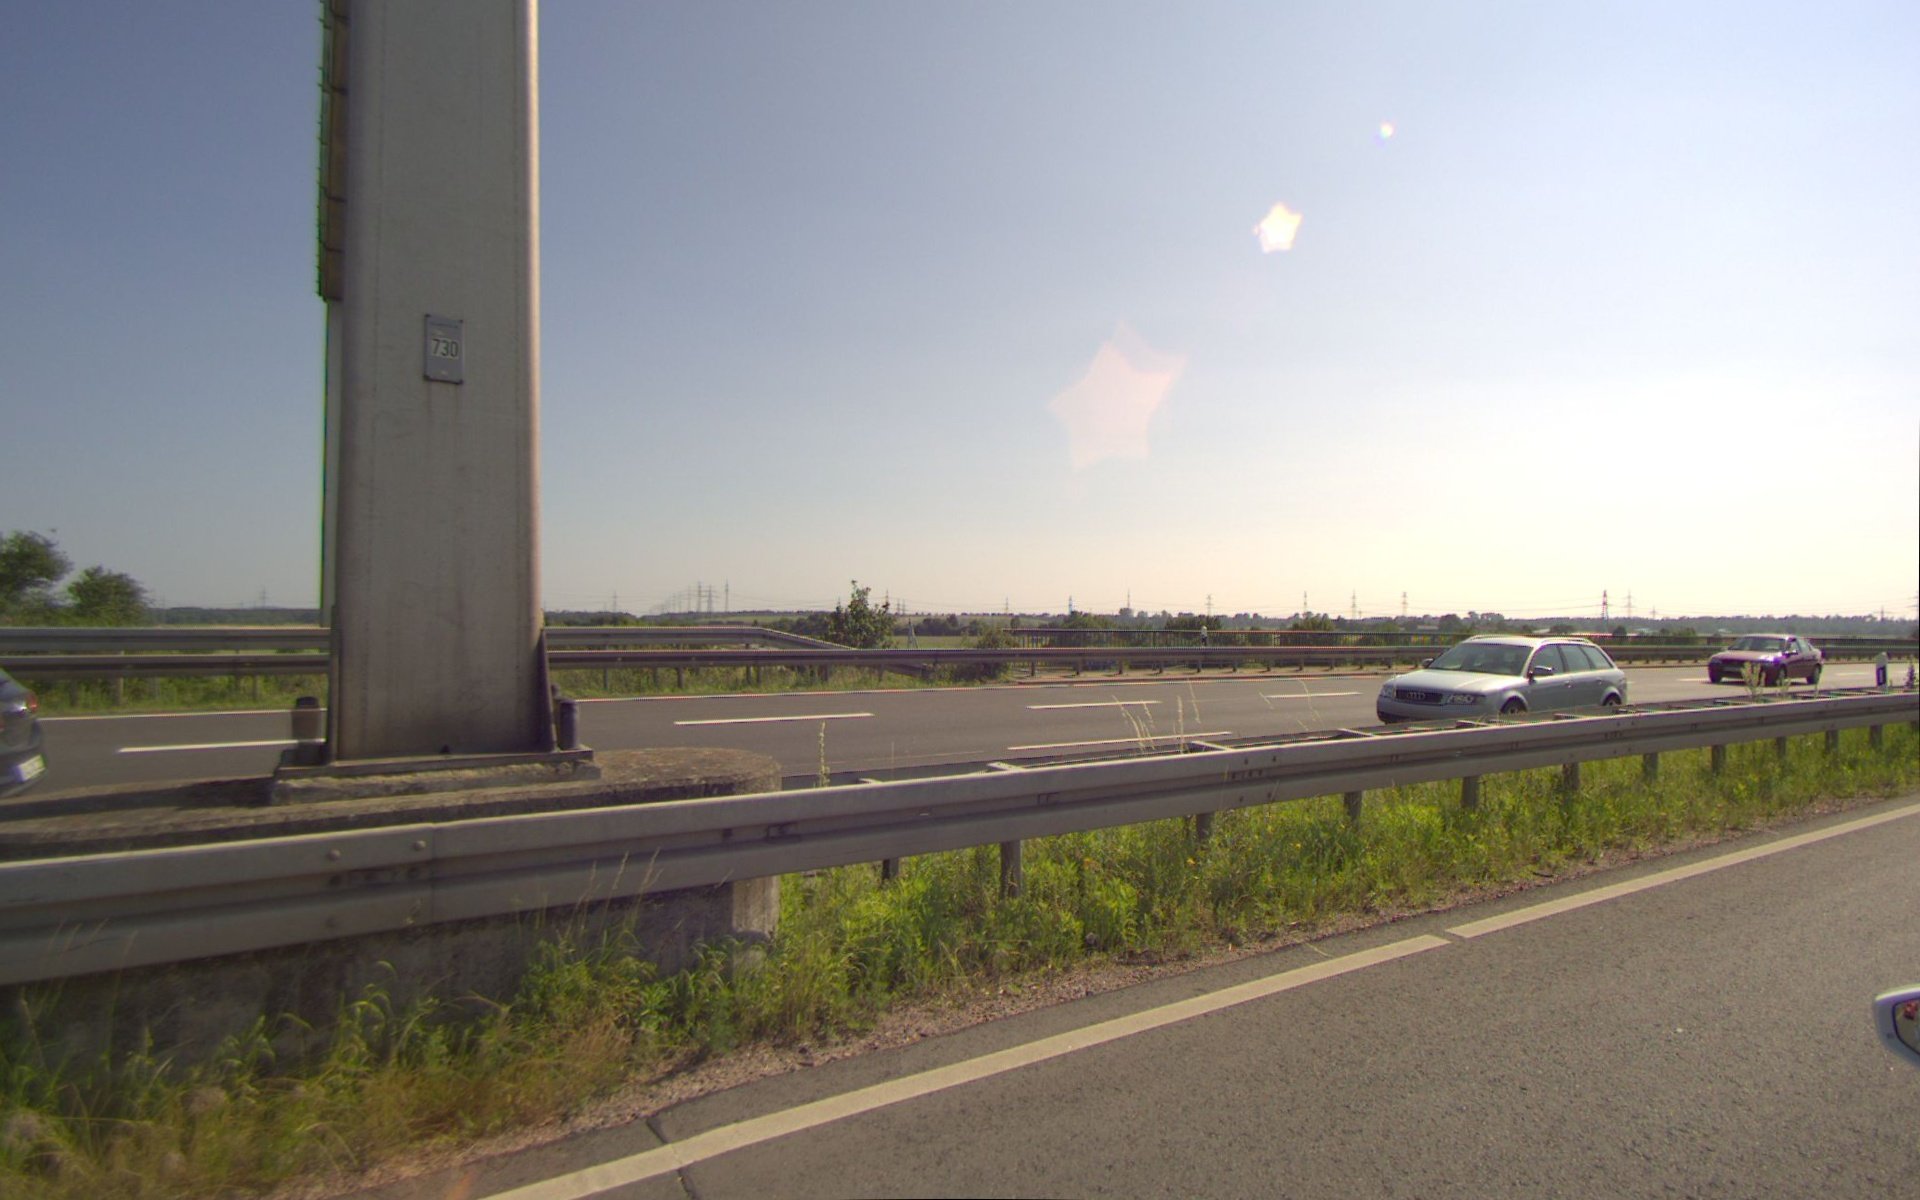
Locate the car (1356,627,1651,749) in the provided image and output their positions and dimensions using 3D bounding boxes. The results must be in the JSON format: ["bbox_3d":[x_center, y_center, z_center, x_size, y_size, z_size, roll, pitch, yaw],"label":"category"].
[{"bbox_3d":[7.943,1.163,14.566,4.454,1.458,1.862,1,0,-33],"label":"car"}]

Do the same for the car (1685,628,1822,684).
[{"bbox_3d":[23.015,1.570,29.102,4.484,1.447,1.813,1,0,-34],"label":"car"}]

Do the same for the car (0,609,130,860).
[{"bbox_3d":[-7.747,0.806,6.064,3.955,1.493,1.786,1,0,-31],"label":"car"}]
